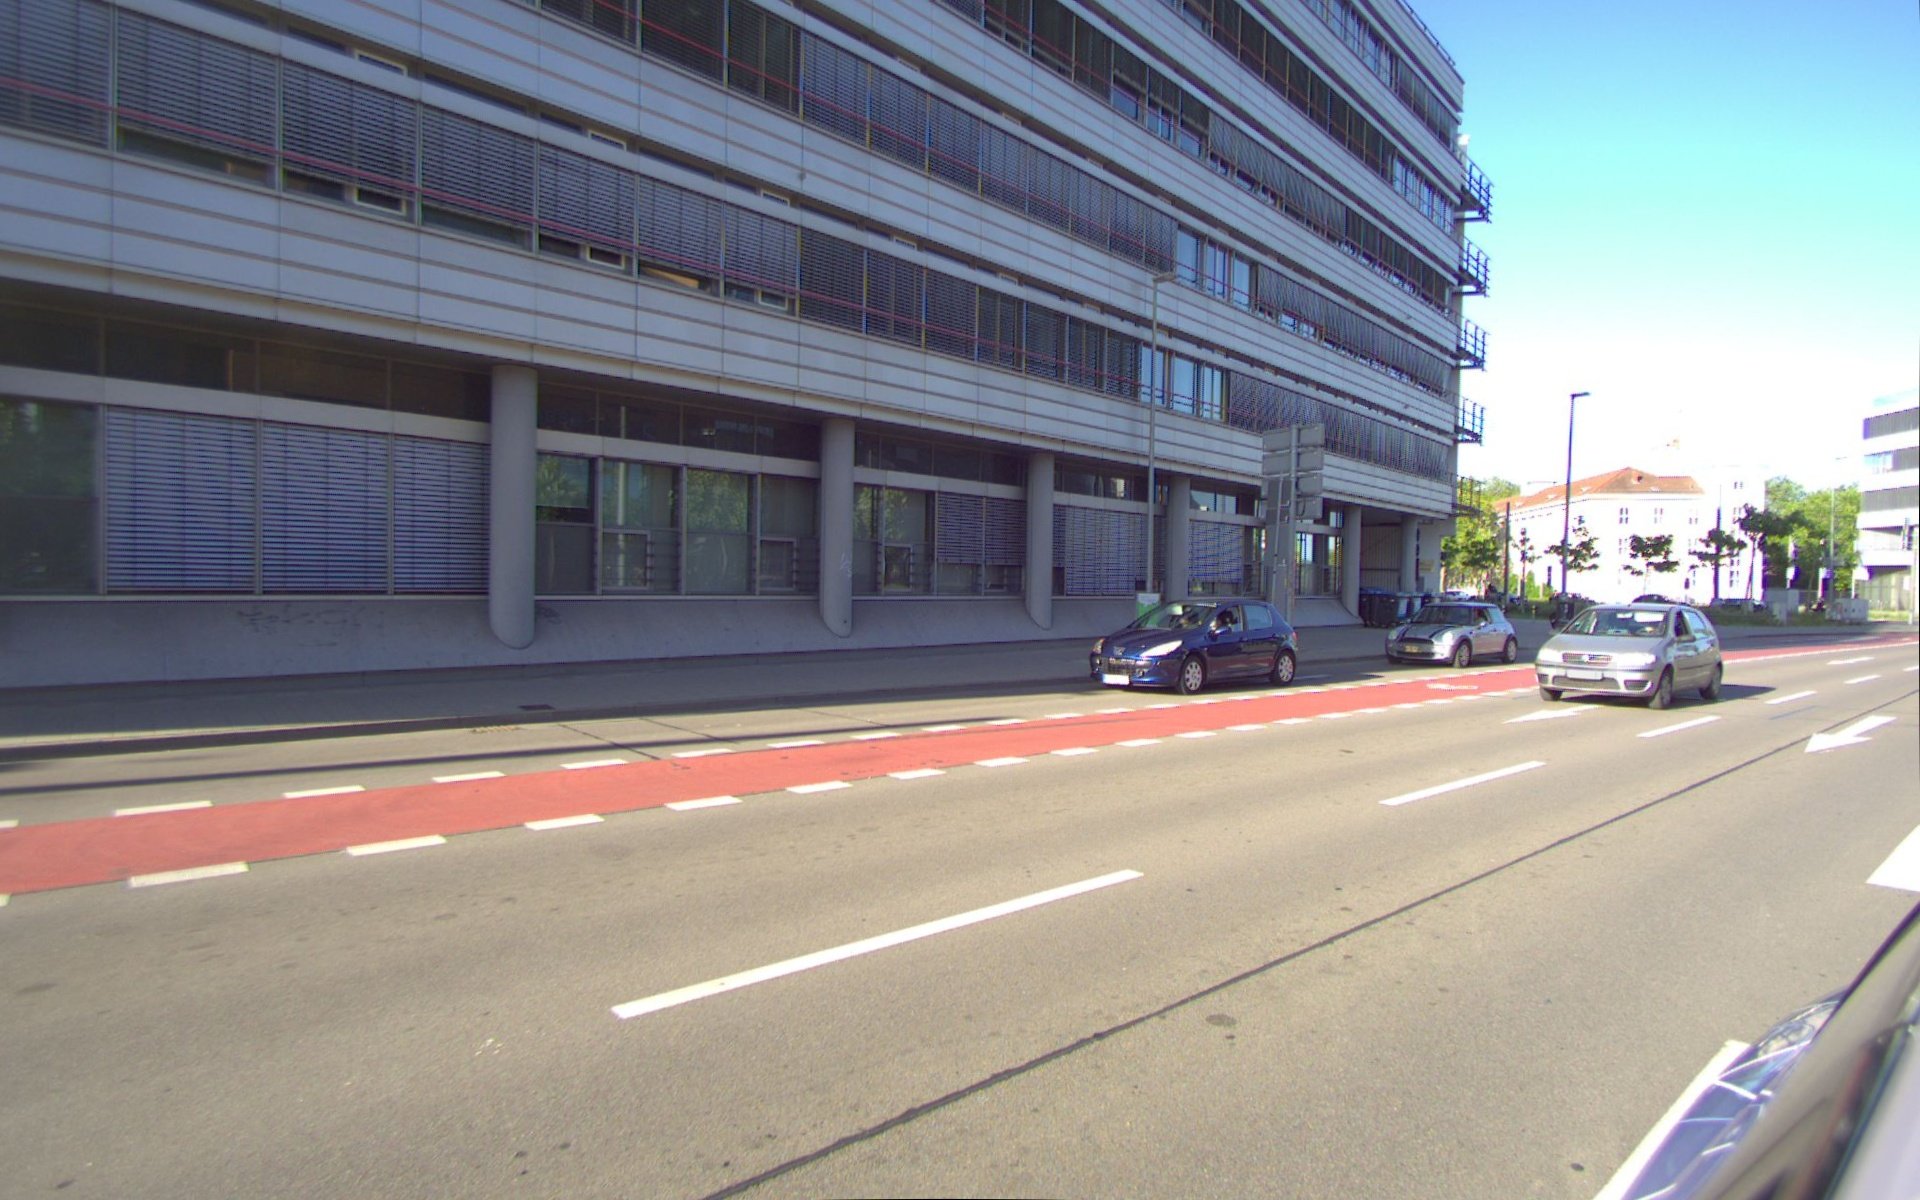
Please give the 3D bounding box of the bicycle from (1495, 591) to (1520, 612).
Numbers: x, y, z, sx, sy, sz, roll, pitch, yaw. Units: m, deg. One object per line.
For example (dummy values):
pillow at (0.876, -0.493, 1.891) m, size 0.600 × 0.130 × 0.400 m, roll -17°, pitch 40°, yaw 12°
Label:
bicycle at (28.460, 0.071, 52.632) m, size 1.672 × 1.070 × 0.505 m, roll -1°, pitch 4°, yaw -40°

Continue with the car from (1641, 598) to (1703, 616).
car at (61.971, 0.614, 88.141) m, size 1.958 × 1.439 × 4.009 m, roll 0°, pitch 1°, yaw -21°

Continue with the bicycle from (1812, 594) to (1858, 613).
bicycle at (64.871, 0.221, 75.019) m, size 0.932 × 1.328 × 2.376 m, roll 0°, pitch 1°, yaw -27°

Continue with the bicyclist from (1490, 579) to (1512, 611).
bicyclist at (28.175, -0.283, 52.700) m, size 0.973 × 1.638 × 0.685 m, roll 0°, pitch 1°, yaw -39°

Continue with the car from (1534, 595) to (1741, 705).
car at (10.257, 0.652, 15.239) m, size 3.700 × 1.447 × 1.620 m, roll 0°, pitch 1°, yaw -40°

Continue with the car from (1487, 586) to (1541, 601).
car at (56.337, -0.657, 102.983) m, size 1.958 × 1.439 × 4.535 m, roll 0°, pitch 1°, yaw -24°

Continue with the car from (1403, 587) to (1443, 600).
car at (52.384, -0.710, 114.617) m, size 1.894 × 1.393 × 4.009 m, roll 0°, pitch 1°, yaw -17°

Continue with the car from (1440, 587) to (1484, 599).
car at (54.080, -0.779, 109.003) m, size 1.958 × 1.259 × 4.009 m, roll 0°, pitch 1°, yaw -19°

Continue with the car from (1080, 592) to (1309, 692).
car at (3.973, 0.599, 16.845) m, size 3.929 × 1.464 × 1.735 m, roll 0°, pitch 1°, yaw -40°

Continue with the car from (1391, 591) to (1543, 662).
car at (11.504, 0.543, 22.887) m, size 3.925 × 1.463 × 1.440 m, roll 0°, pitch 2°, yaw -36°

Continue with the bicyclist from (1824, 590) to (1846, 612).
bicyclist at (64.878, 0.060, 75.038) m, size 0.862 × 1.627 × 1.009 m, roll 0°, pitch 1°, yaw -27°
